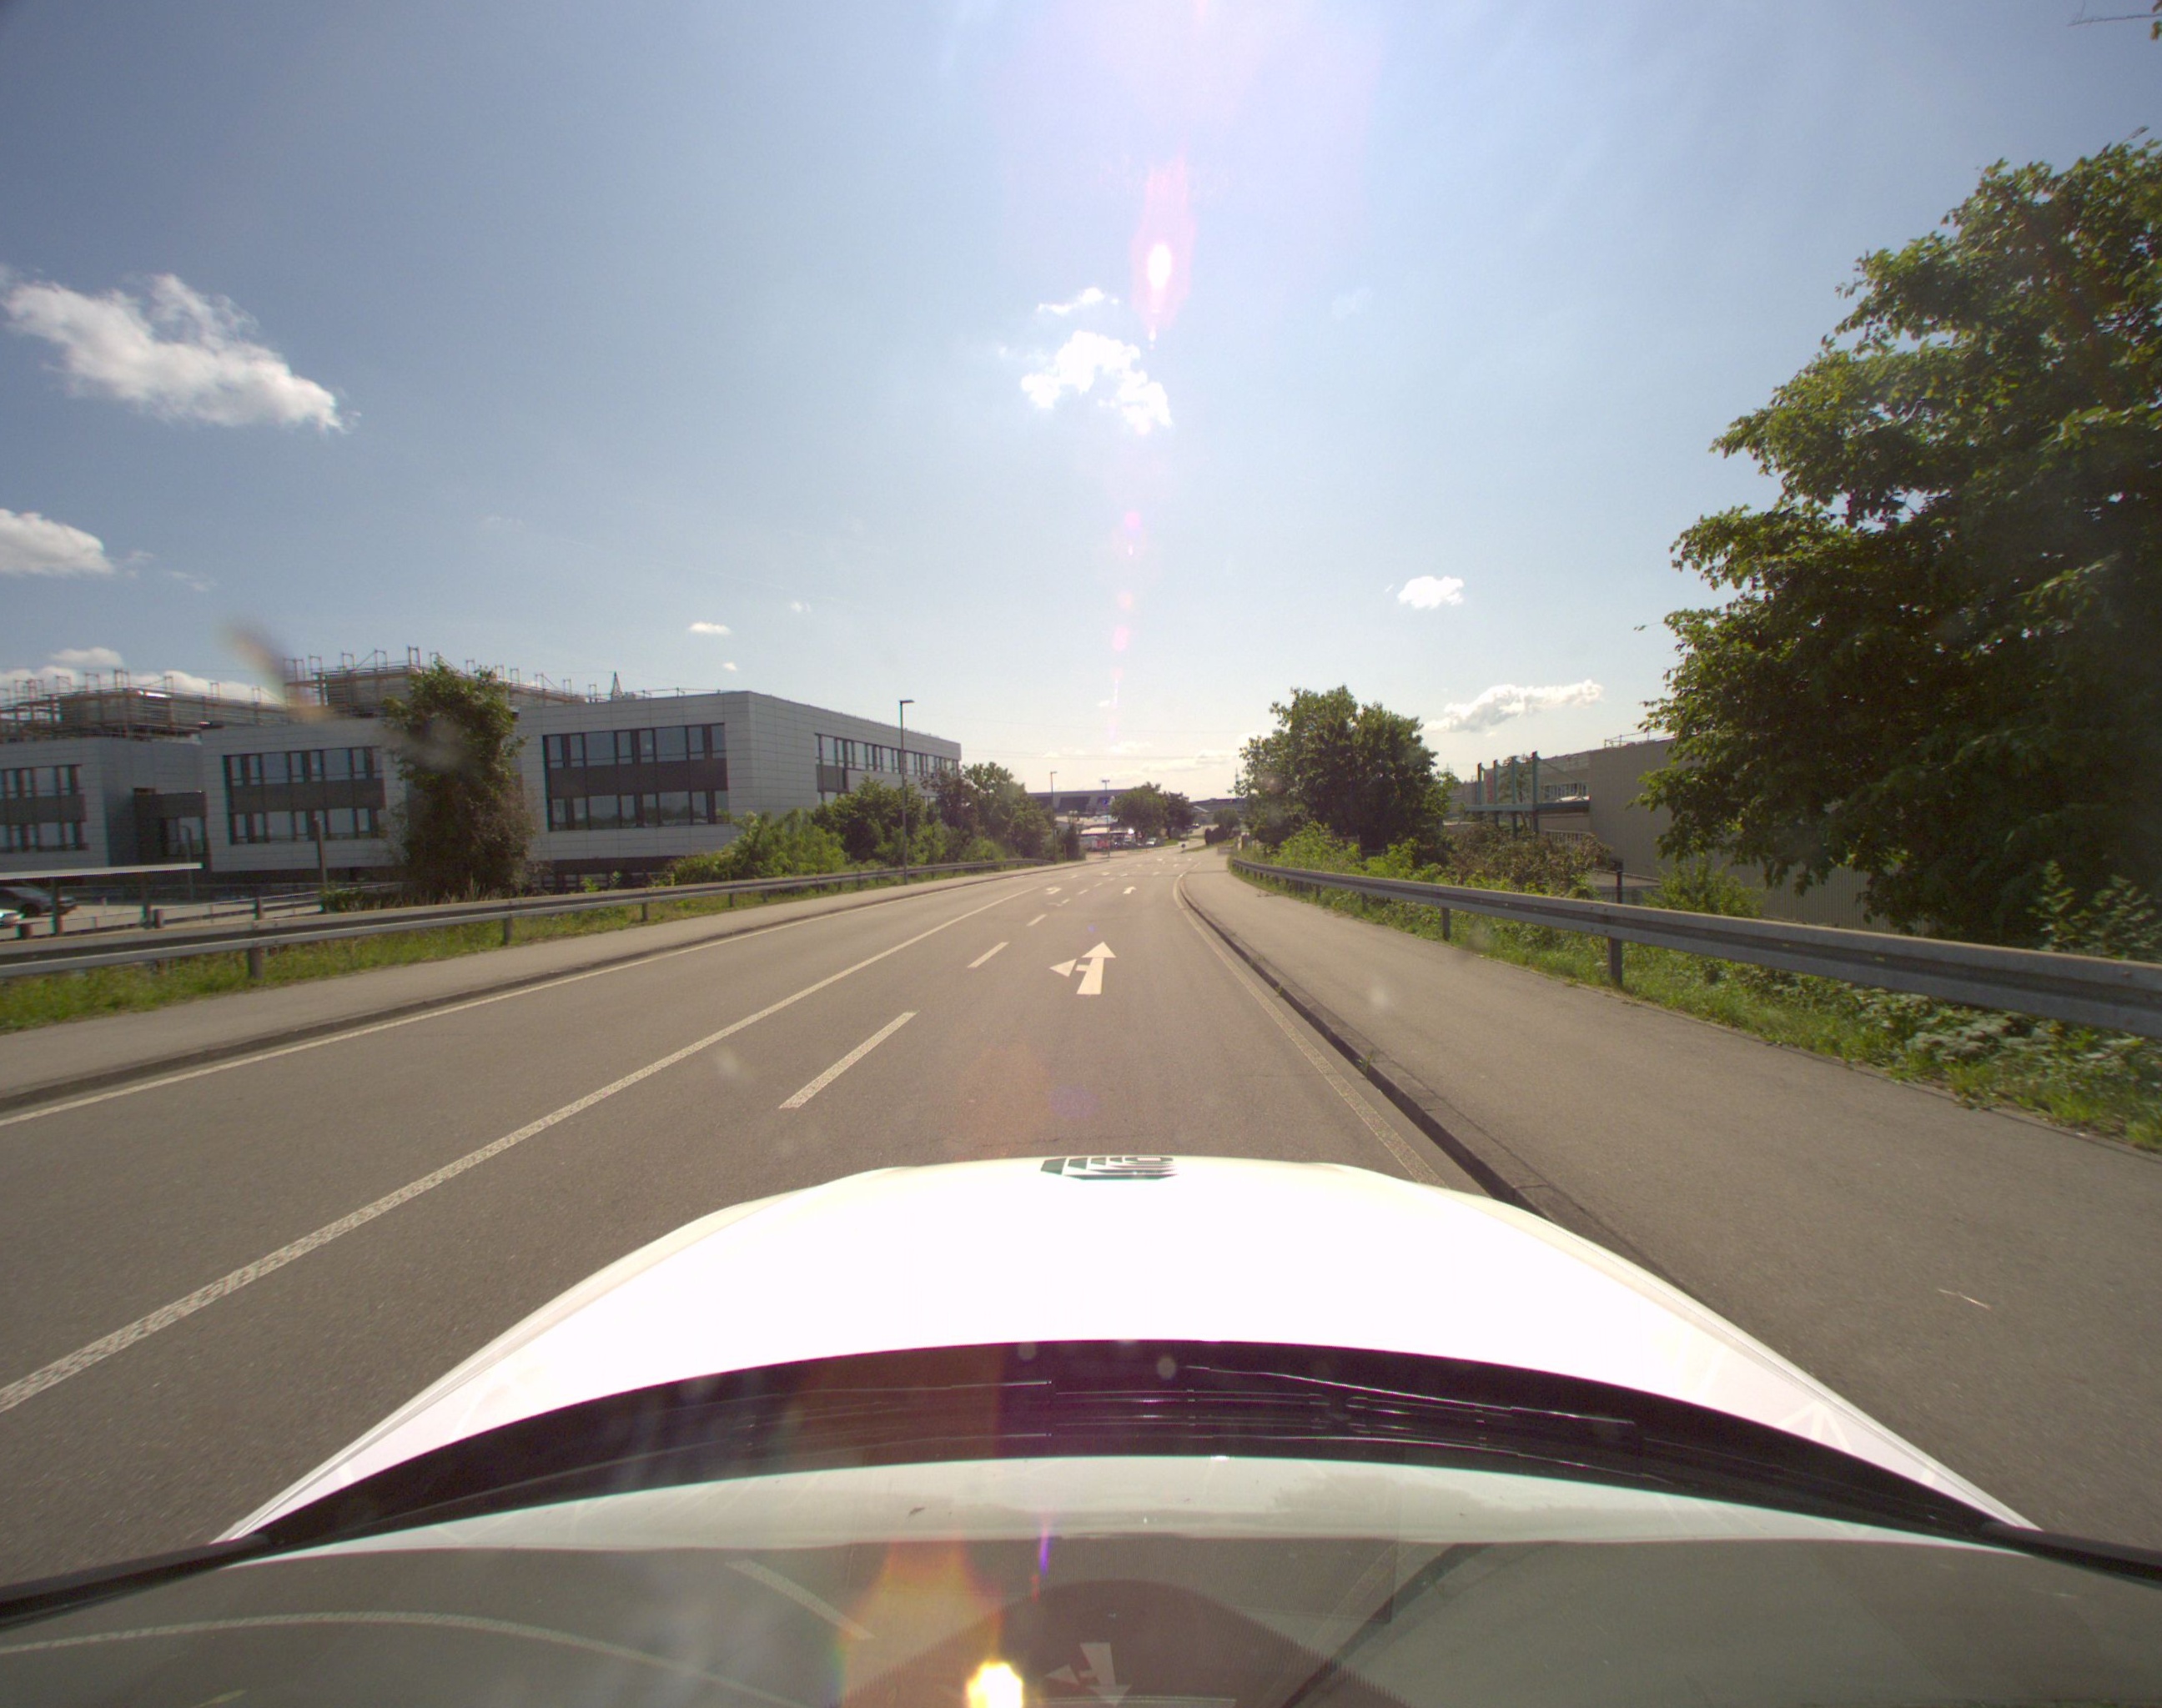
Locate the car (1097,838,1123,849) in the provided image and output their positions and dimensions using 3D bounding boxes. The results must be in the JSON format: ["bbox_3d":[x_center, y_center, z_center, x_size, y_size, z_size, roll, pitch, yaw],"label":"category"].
[{"bbox_3d":[4.752,-1.737,133.912,3.949,1.780,2.013,1,4,39],"label":"car"}]

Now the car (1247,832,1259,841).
[{"bbox_3d":[35.645,-3.629,168.482,2.256,1.946,4.682,2,2,13],"label":"car"}]

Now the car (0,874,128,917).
[{"bbox_3d":[-57.055,2.280,45.212,5.073,2.013,1.992,-2,3,-12],"label":"car"}]

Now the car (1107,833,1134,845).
[{"bbox_3d":[6.673,-2.483,137.283,3.949,1.903,2.013,1,4,38],"label":"car"}]

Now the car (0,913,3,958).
[{"bbox_3d":[-40.900,2.840,28.150,3.988,2.013,1.954,-1,3,-11],"label":"car"}]

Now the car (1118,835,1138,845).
[{"bbox_3d":[9.794,-2.950,169.071,3.974,1.850,1.835,-2,2,0],"label":"car"}]

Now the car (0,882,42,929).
[{"bbox_3d":[-52.895,2.523,38.607,3.990,2.013,1.992,-2,3,-12],"label":"car"}]

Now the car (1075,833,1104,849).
[{"bbox_3d":[1.421,-2.108,131.469,4.309,2.608,2.013,-1,1,39],"label":"car"}]
